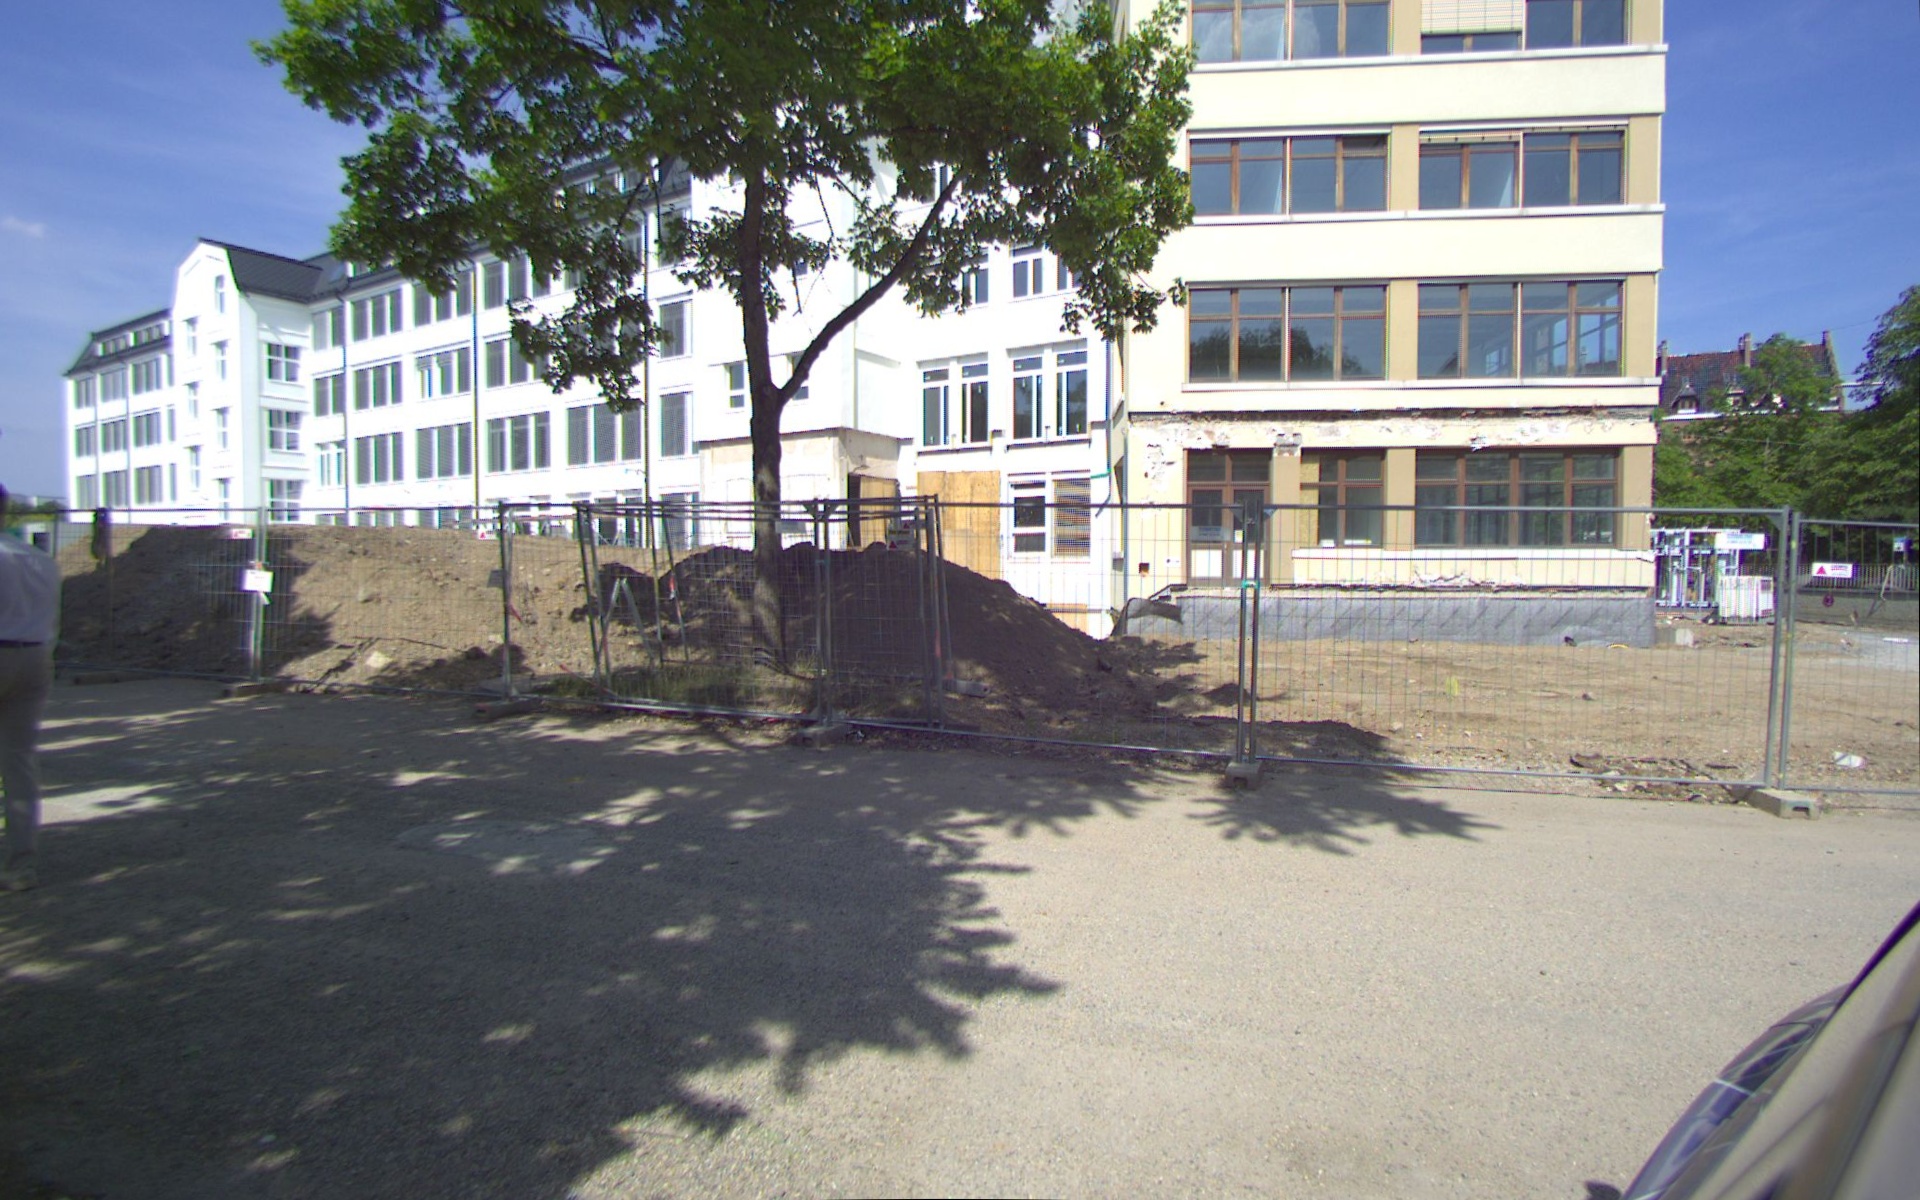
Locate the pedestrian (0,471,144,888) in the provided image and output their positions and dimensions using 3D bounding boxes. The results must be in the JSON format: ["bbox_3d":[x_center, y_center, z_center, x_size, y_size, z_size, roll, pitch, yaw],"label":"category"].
[{"bbox_3d":[-4.337,0.318,4.554,0.845,1.749,0.751,2,1,25],"label":"pedestrian"}]
